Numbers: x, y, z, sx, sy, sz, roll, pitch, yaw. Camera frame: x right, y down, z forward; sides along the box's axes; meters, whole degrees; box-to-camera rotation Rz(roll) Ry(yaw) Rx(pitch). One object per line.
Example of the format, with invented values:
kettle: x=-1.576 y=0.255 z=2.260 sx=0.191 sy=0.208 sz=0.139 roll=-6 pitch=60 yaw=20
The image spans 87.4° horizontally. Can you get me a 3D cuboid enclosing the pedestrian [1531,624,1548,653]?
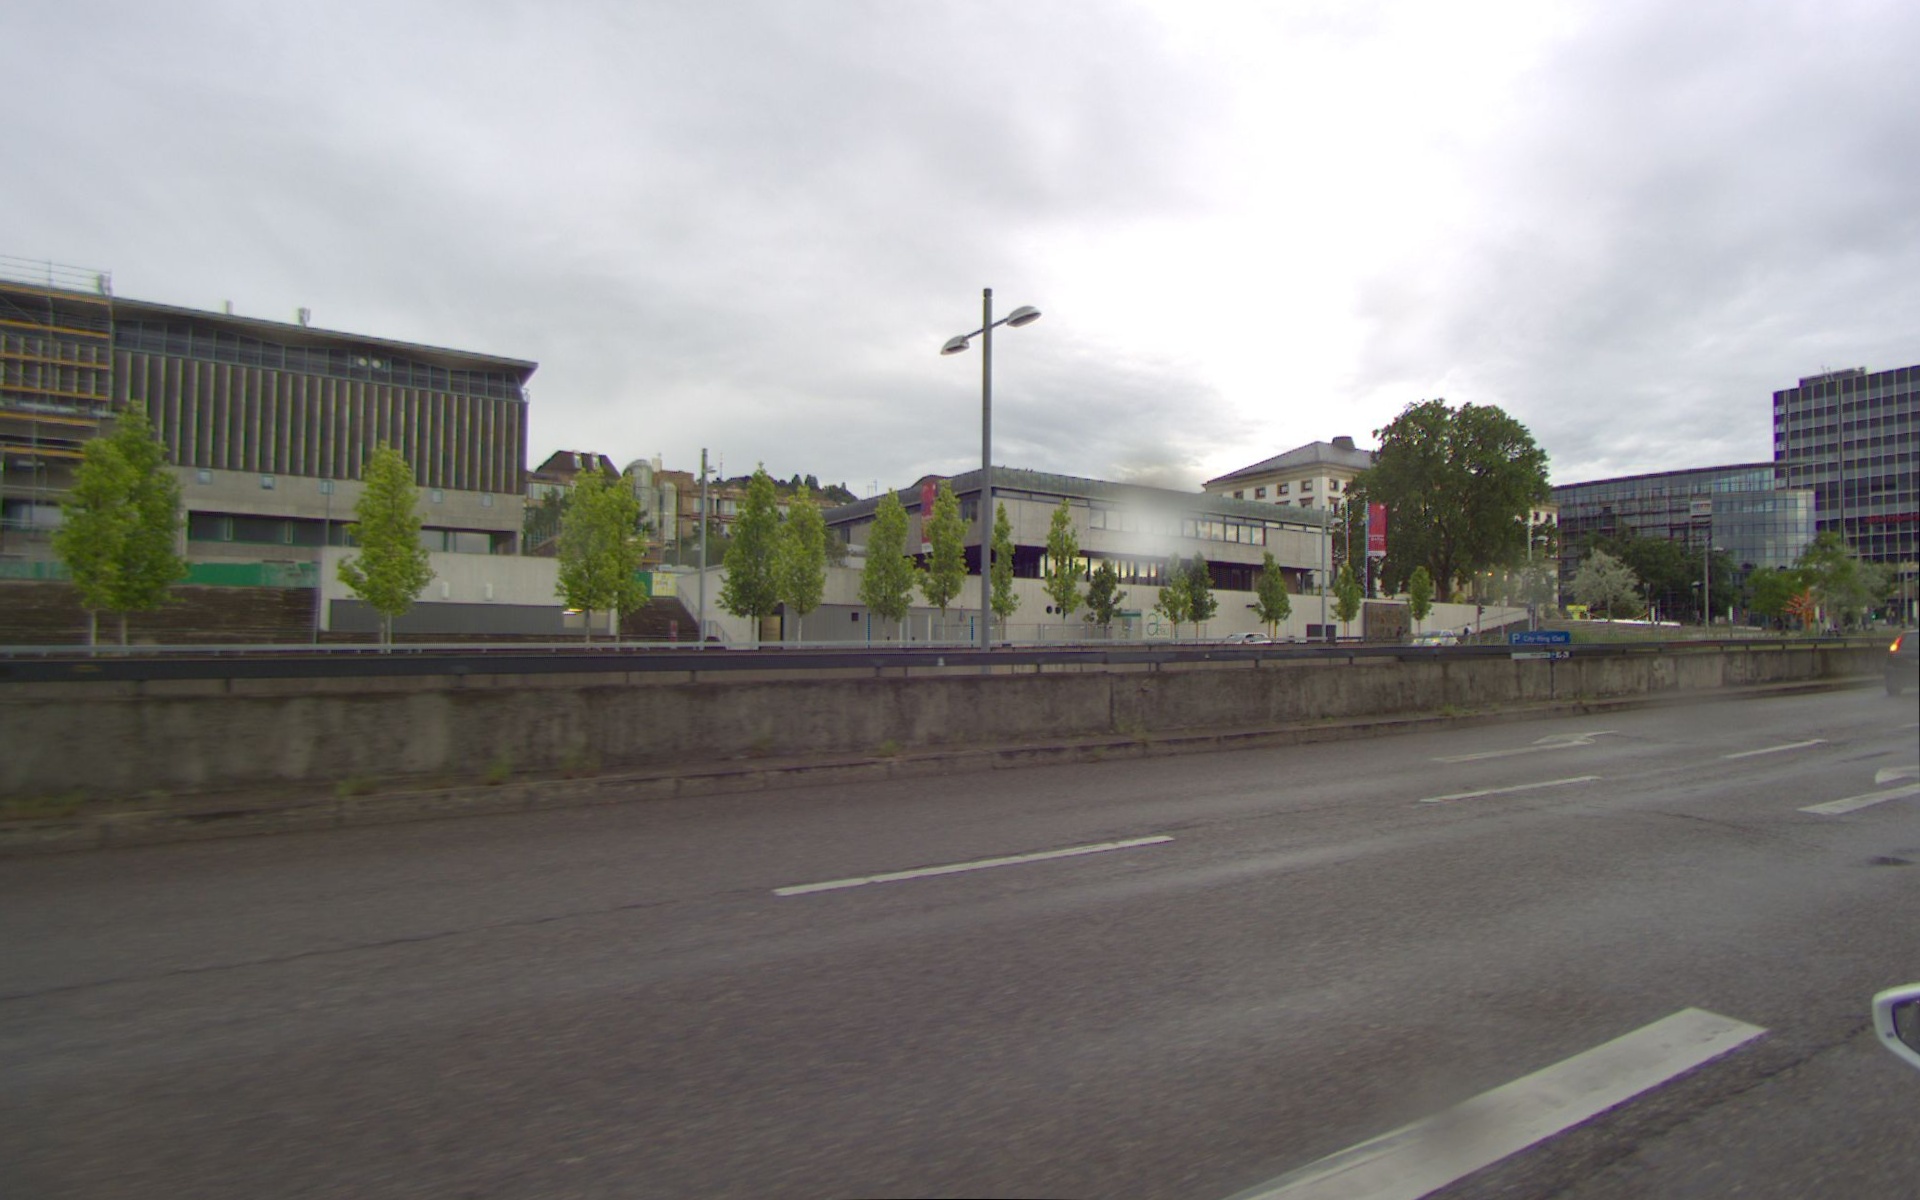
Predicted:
pedestrian: x=42.736 y=2.824 z=74.051 sx=0.718 sy=2.120 sz=0.763 roll=-5 pitch=2 yaw=-32

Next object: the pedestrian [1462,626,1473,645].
pedestrian: x=39.039 y=2.740 z=77.236 sx=0.623 sy=1.441 sz=0.491 roll=2 pitch=-1 yaw=-21

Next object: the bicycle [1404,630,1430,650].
bicycle: x=31.272 y=2.763 z=68.727 sx=1.461 sy=1.325 sz=0.554 roll=0 pitch=-2 yaw=44

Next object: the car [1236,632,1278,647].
car: x=16.029 y=2.130 z=54.195 sx=2.530 sy=0.755 sz=0.813 roll=3 pitch=-2 yaw=-36

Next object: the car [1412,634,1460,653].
car: x=30.416 y=2.758 z=64.109 sx=2.989 sy=1.129 sz=1.432 roll=3 pitch=-2 yaw=-33

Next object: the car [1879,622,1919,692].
car: x=21.534 y=1.260 z=21.722 sx=3.860 sy=1.434 sz=1.533 roll=3 pitch=-2 yaw=-33

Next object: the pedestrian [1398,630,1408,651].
pedestrian: x=30.938 y=2.819 z=70.163 sx=0.572 sy=1.401 sz=0.463 roll=3 pitch=-2 yaw=-39
